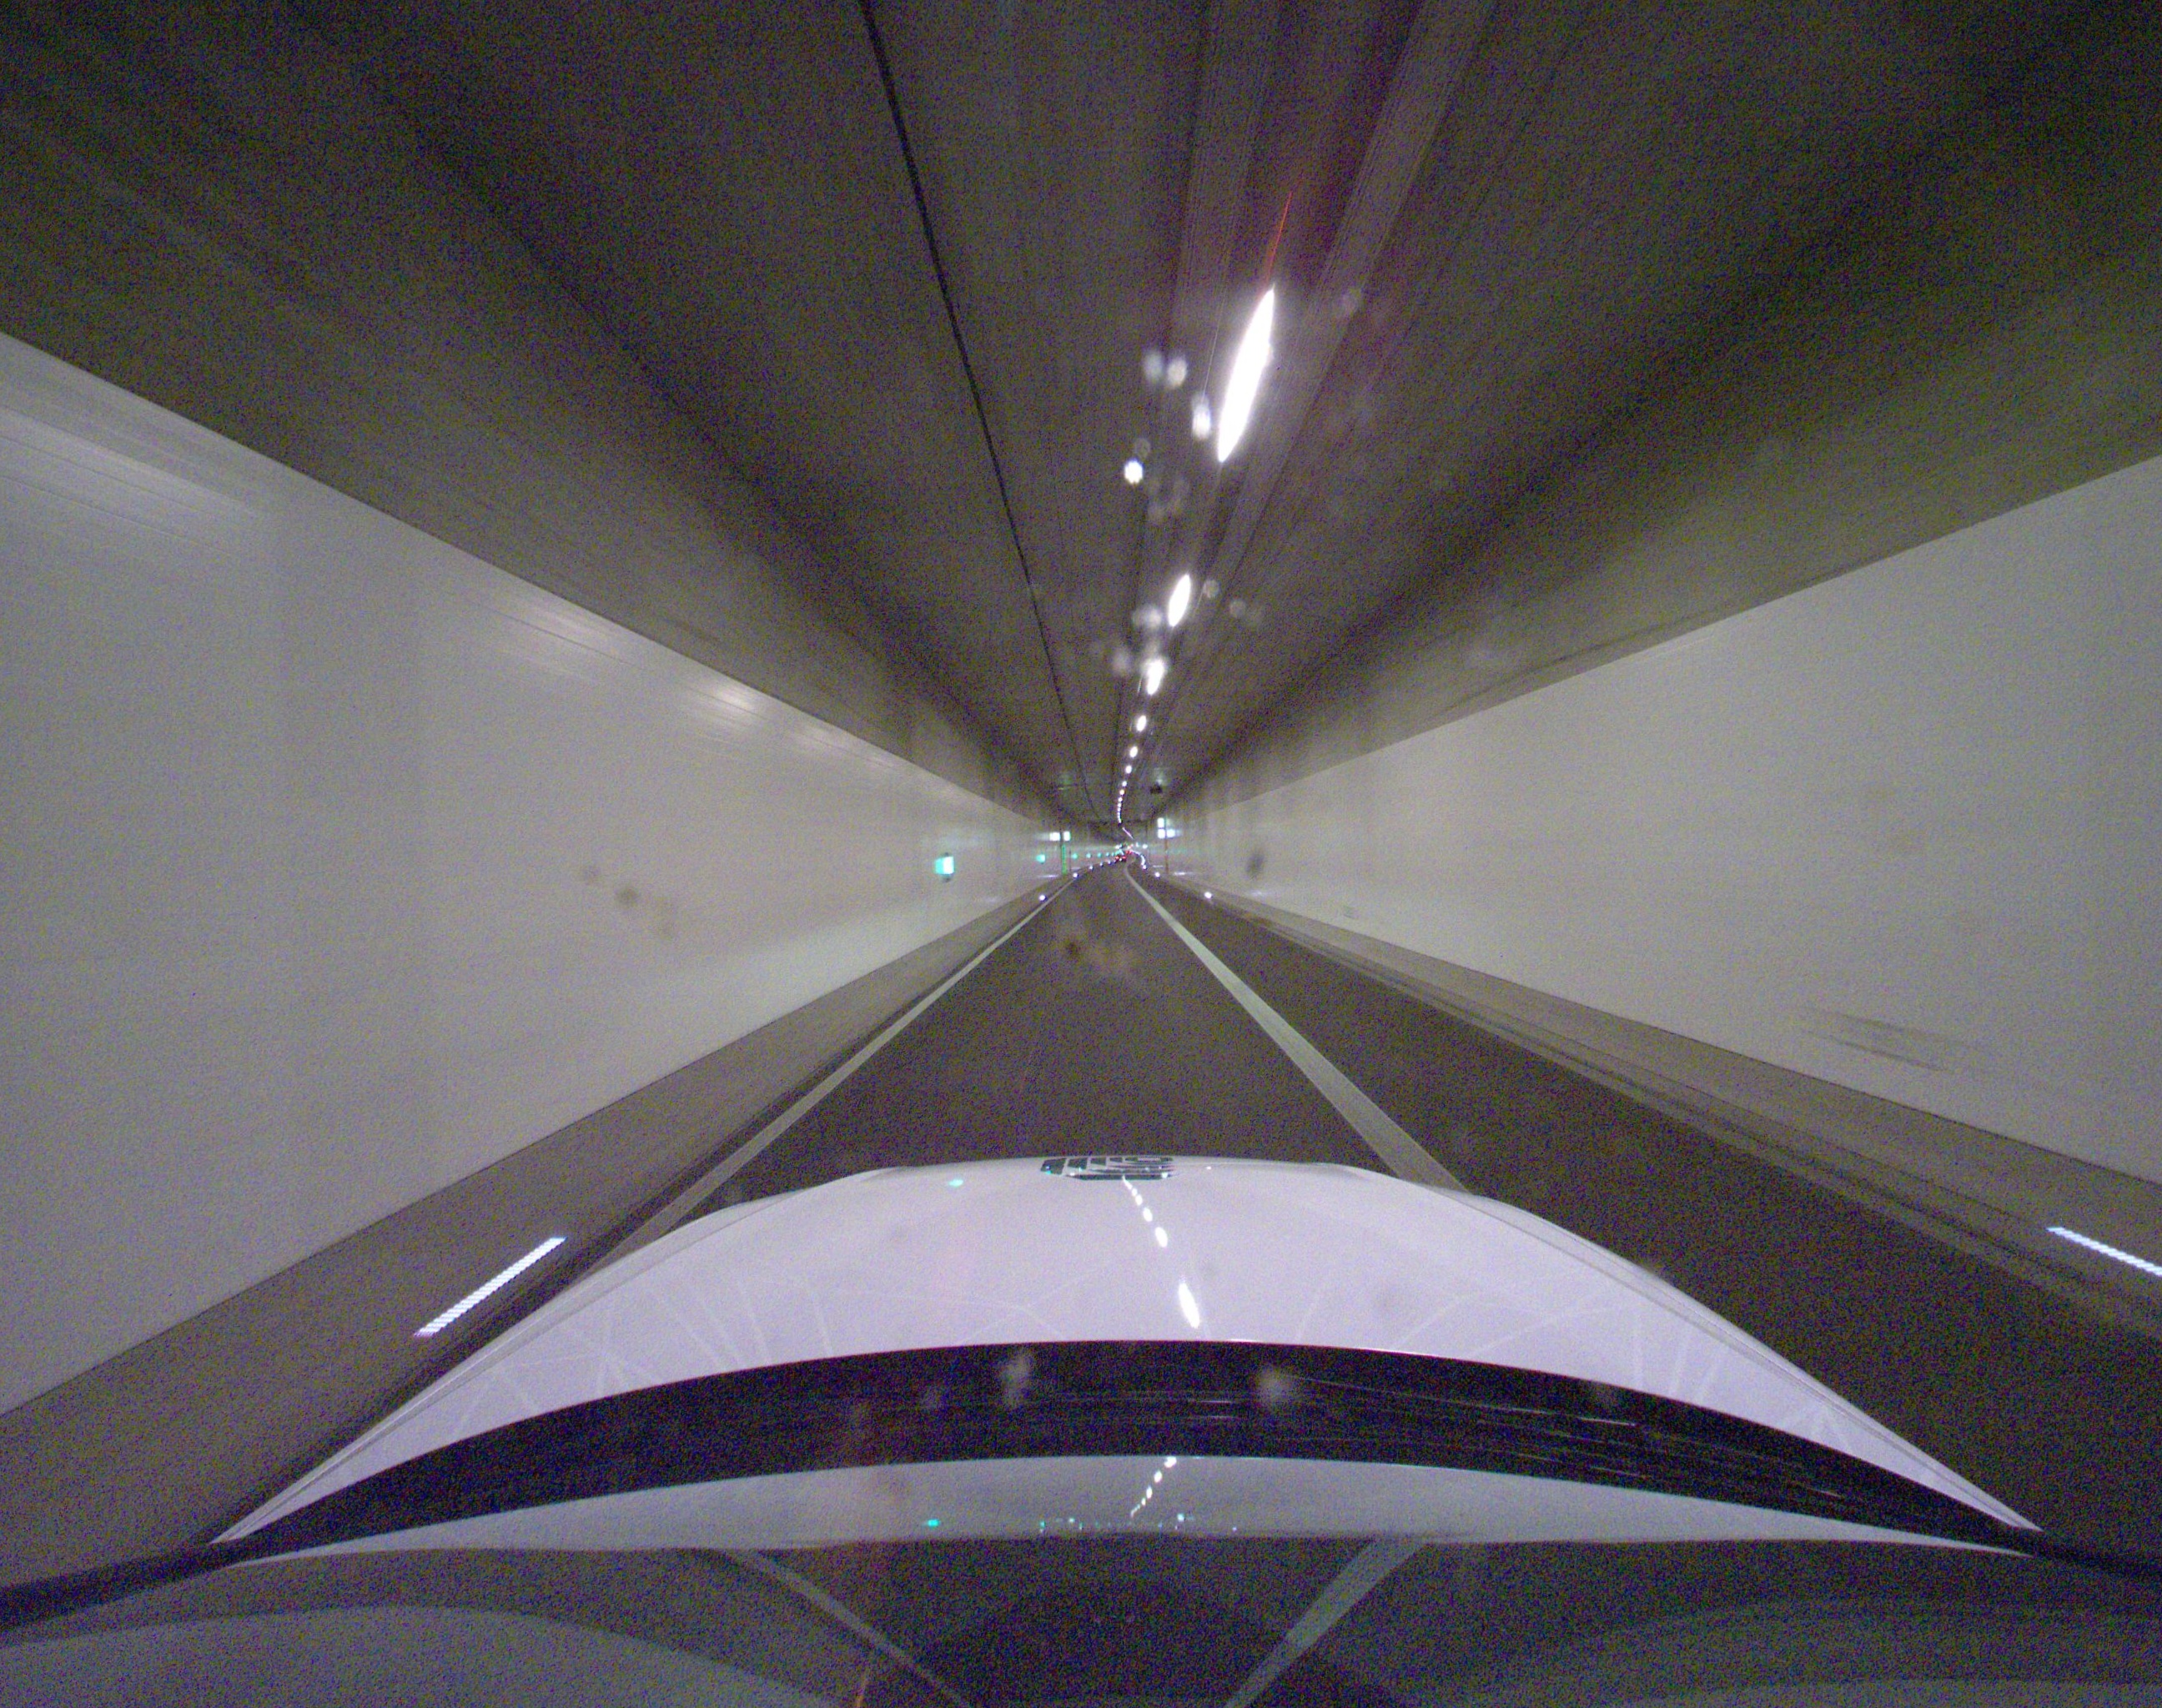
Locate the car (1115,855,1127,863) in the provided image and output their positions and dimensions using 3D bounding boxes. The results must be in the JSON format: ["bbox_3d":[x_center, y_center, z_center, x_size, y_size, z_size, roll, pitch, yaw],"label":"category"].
[{"bbox_3d":[6.613,0.820,134.644,1.986,1.420,4.002,0,0,2],"label":"car"}]
